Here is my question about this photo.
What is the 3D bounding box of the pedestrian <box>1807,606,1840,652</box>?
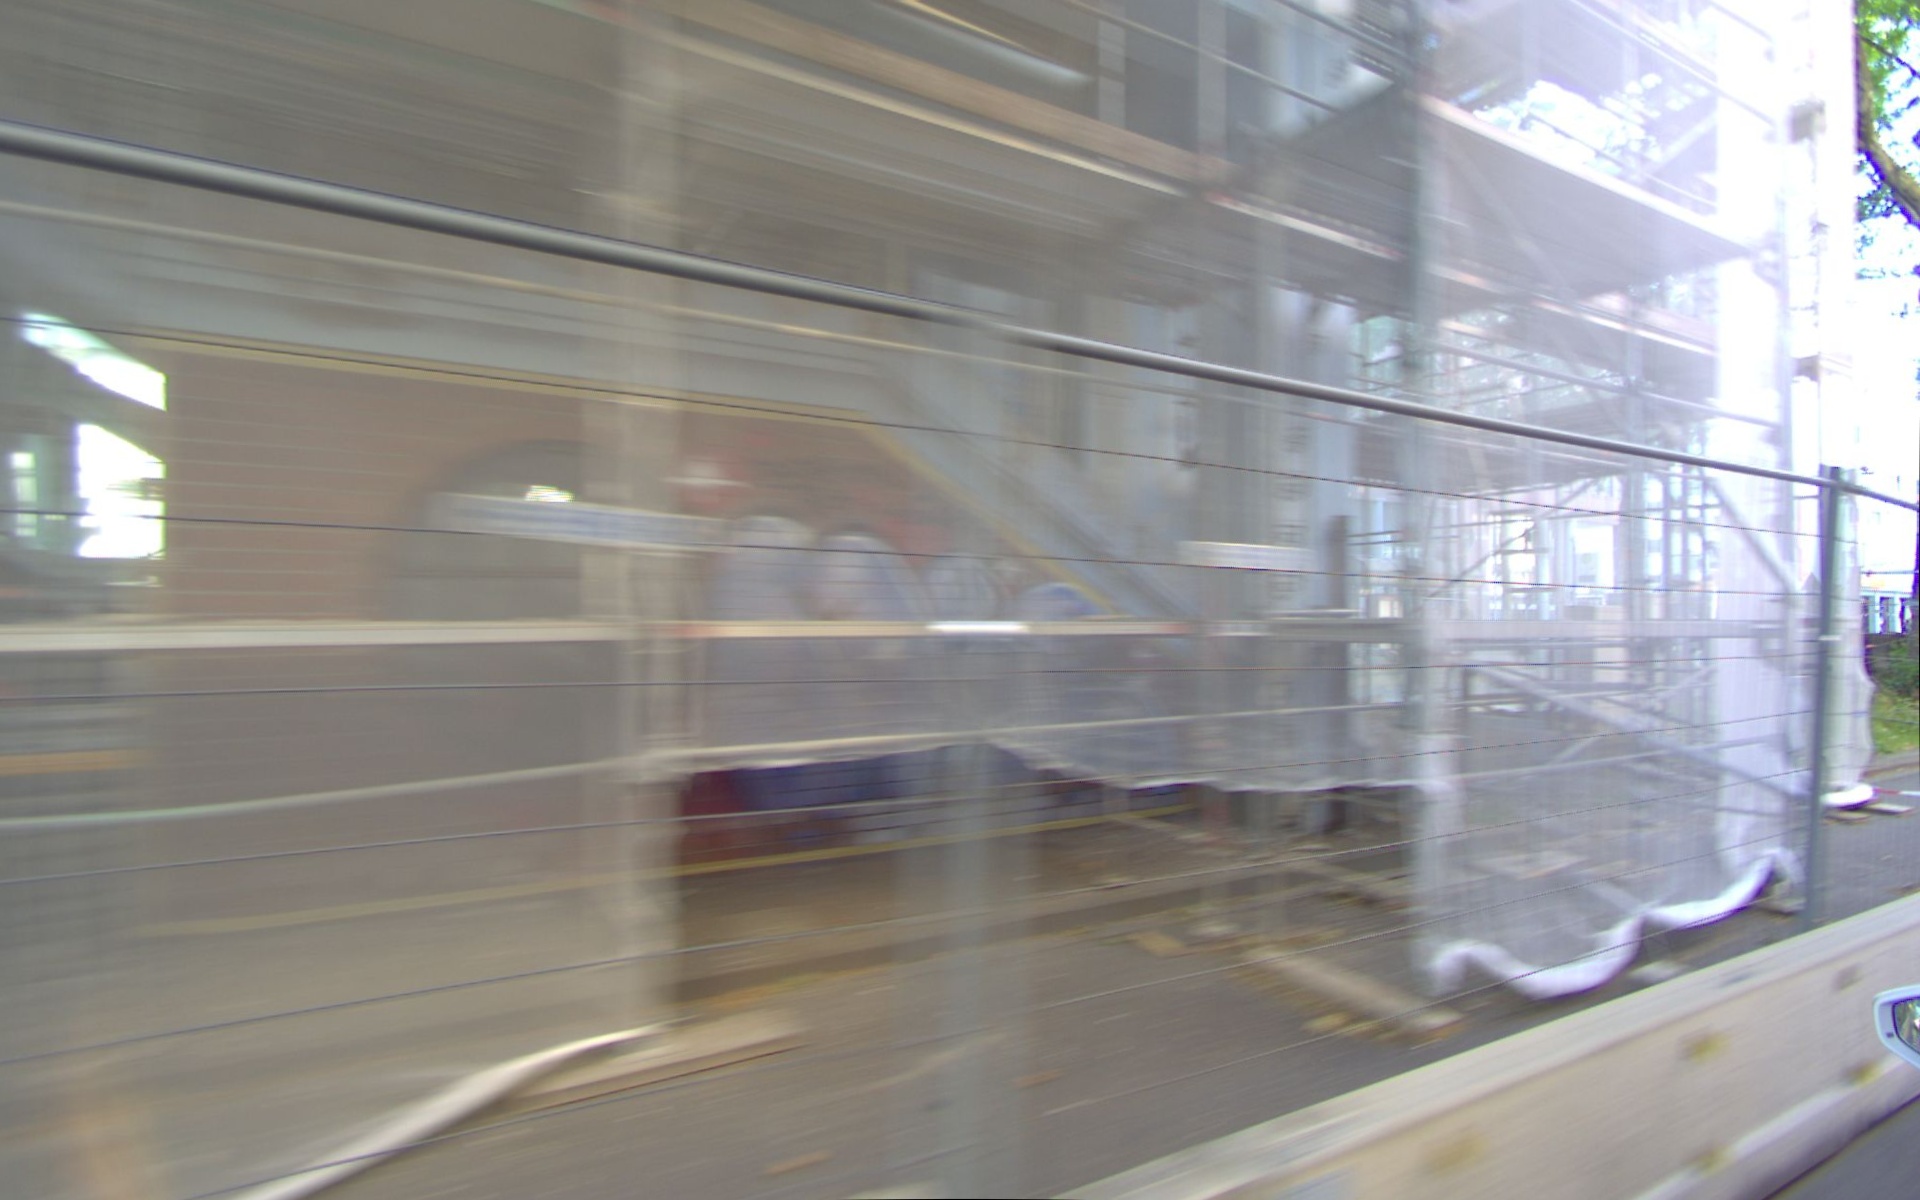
[{"bbox_3d":[33.042,1.098,38.430,0.840,1.757,0.773,1,-1,-34],"label":"pedestrian"}]

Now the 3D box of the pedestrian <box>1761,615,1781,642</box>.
[{"bbox_3d":[53.440,1.883,66.188,0.767,1.747,0.801,1,0,-30],"label":"pedestrian"}]

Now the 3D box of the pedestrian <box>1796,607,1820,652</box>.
[{"bbox_3d":[32.252,1.114,38.200,0.524,1.702,0.564,1,-1,-30],"label":"pedestrian"}]
